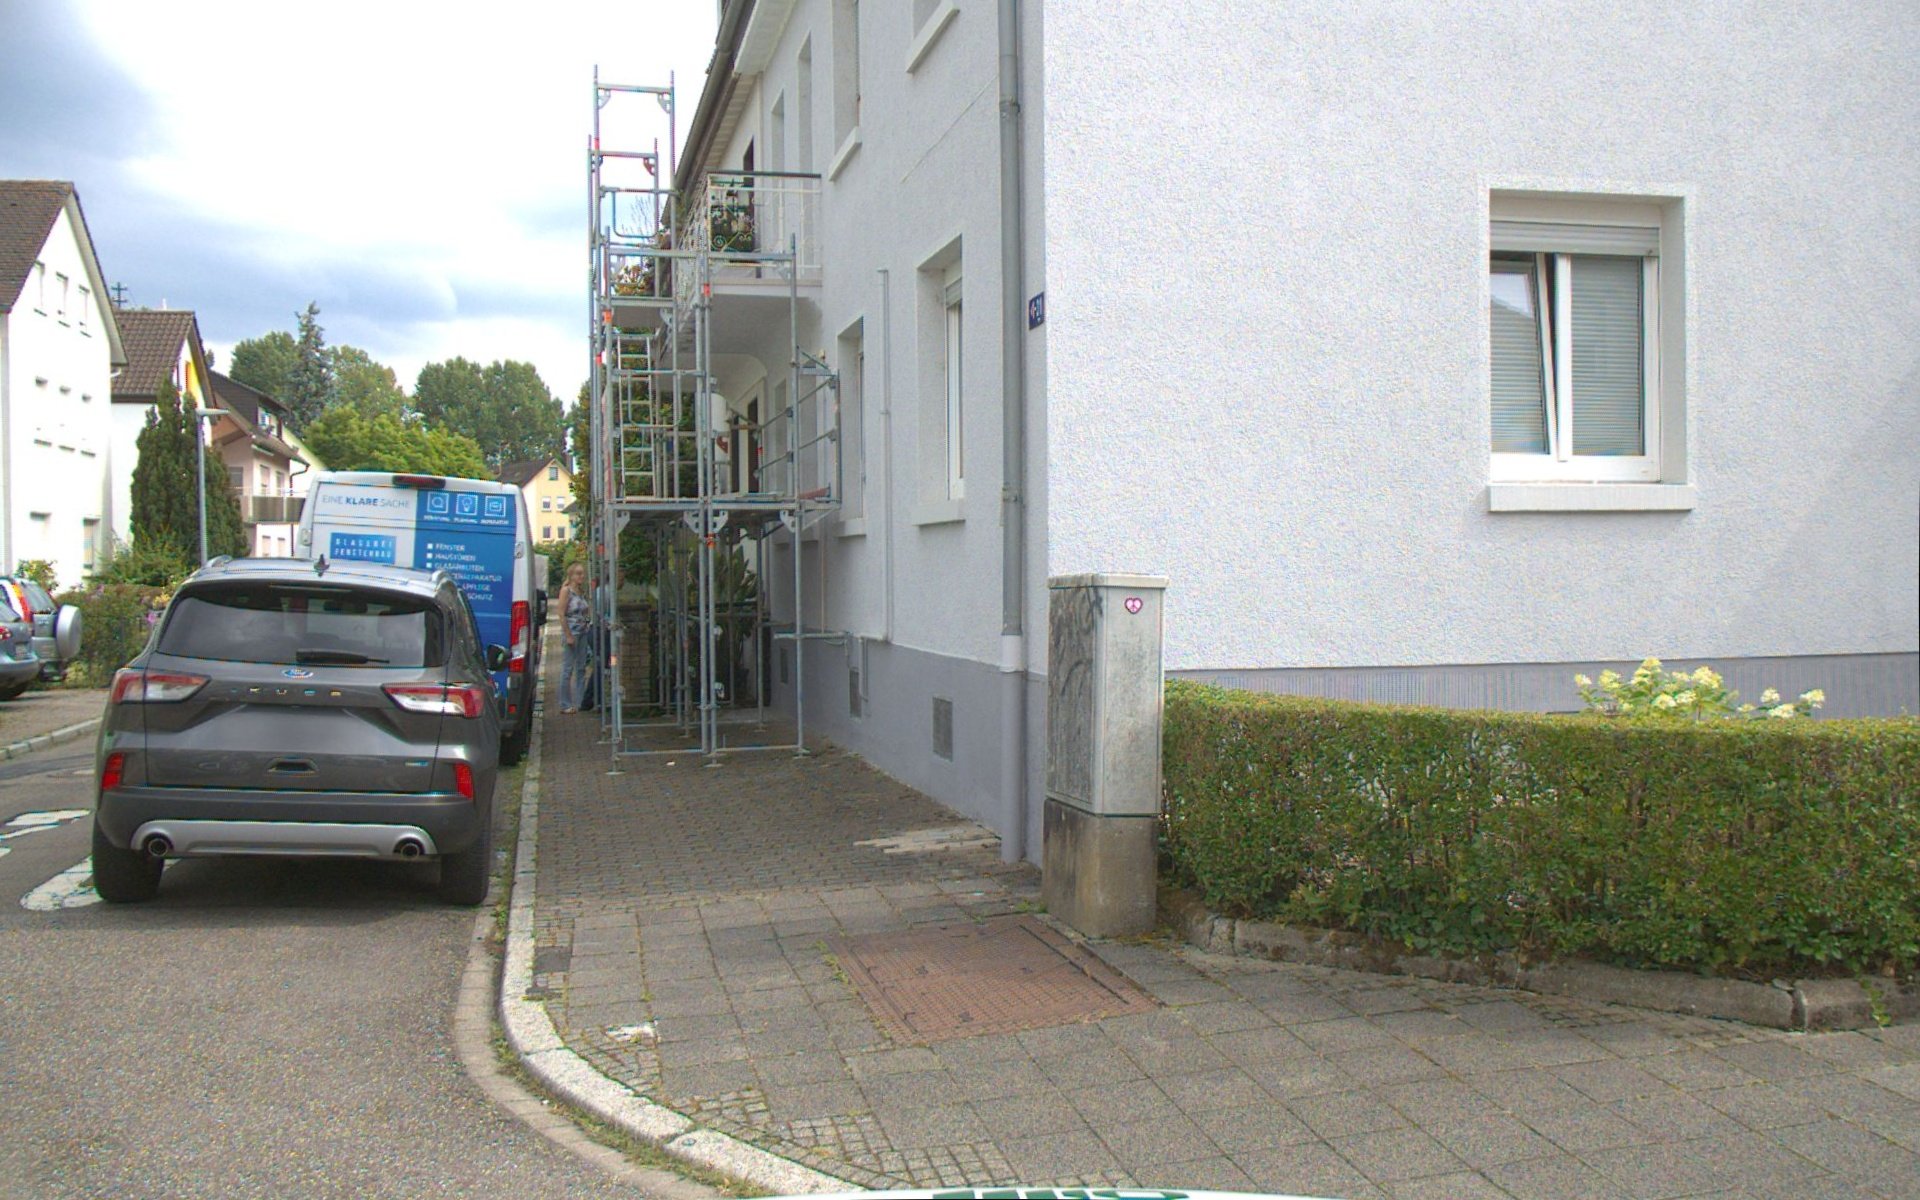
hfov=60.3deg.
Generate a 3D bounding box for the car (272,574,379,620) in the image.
[{"bbox_3d":[-25.851,-0.116,67.559,3.925,1.803,1.861,-1,0,-18],"label":"car"}]

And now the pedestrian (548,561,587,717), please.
[{"bbox_3d":[-4.608,0.448,19.420,0.400,1.793,0.511,-1,-1,-14],"label":"pedestrian"}]

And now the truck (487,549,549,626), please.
[{"bbox_3d":[-16.361,-0.477,61.141,2.095,2.703,4.564,-1,1,-16],"label":"truck"}]

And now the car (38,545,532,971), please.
[{"bbox_3d":[-3.496,0.621,9.263,1.962,1.757,4.322,-1,1,-16],"label":"car"}]

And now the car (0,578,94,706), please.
[{"bbox_3d":[-13.984,0.586,22.619,3.516,1.696,1.579,-1,0,-19],"label":"car"}]

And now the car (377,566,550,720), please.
[{"bbox_3d":[-6.556,0.473,21.956,1.962,1.803,4.322,-1,1,-16],"label":"car"}]

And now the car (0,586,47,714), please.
[{"bbox_3d":[-13.228,0.637,20.030,3.516,1.527,1.579,-1,0,-19],"label":"car"}]

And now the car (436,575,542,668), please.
[{"bbox_3d":[-9.847,0.377,34.544,1.962,1.780,4.322,-1,1,-16],"label":"car"}]

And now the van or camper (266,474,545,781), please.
[{"bbox_3d":[-5.220,0.167,16.221,2.155,2.502,5.035,-1,1,-15],"label":"van or camper"}]

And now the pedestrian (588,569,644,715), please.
[{"bbox_3d":[-3.991,0.479,19.162,0.591,1.658,0.623,-1,-1,-14],"label":"pedestrian"}]

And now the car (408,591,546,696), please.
[{"bbox_3d":[-7.826,0.627,26.836,1.962,1.481,4.322,-1,1,-16],"label":"car"}]
